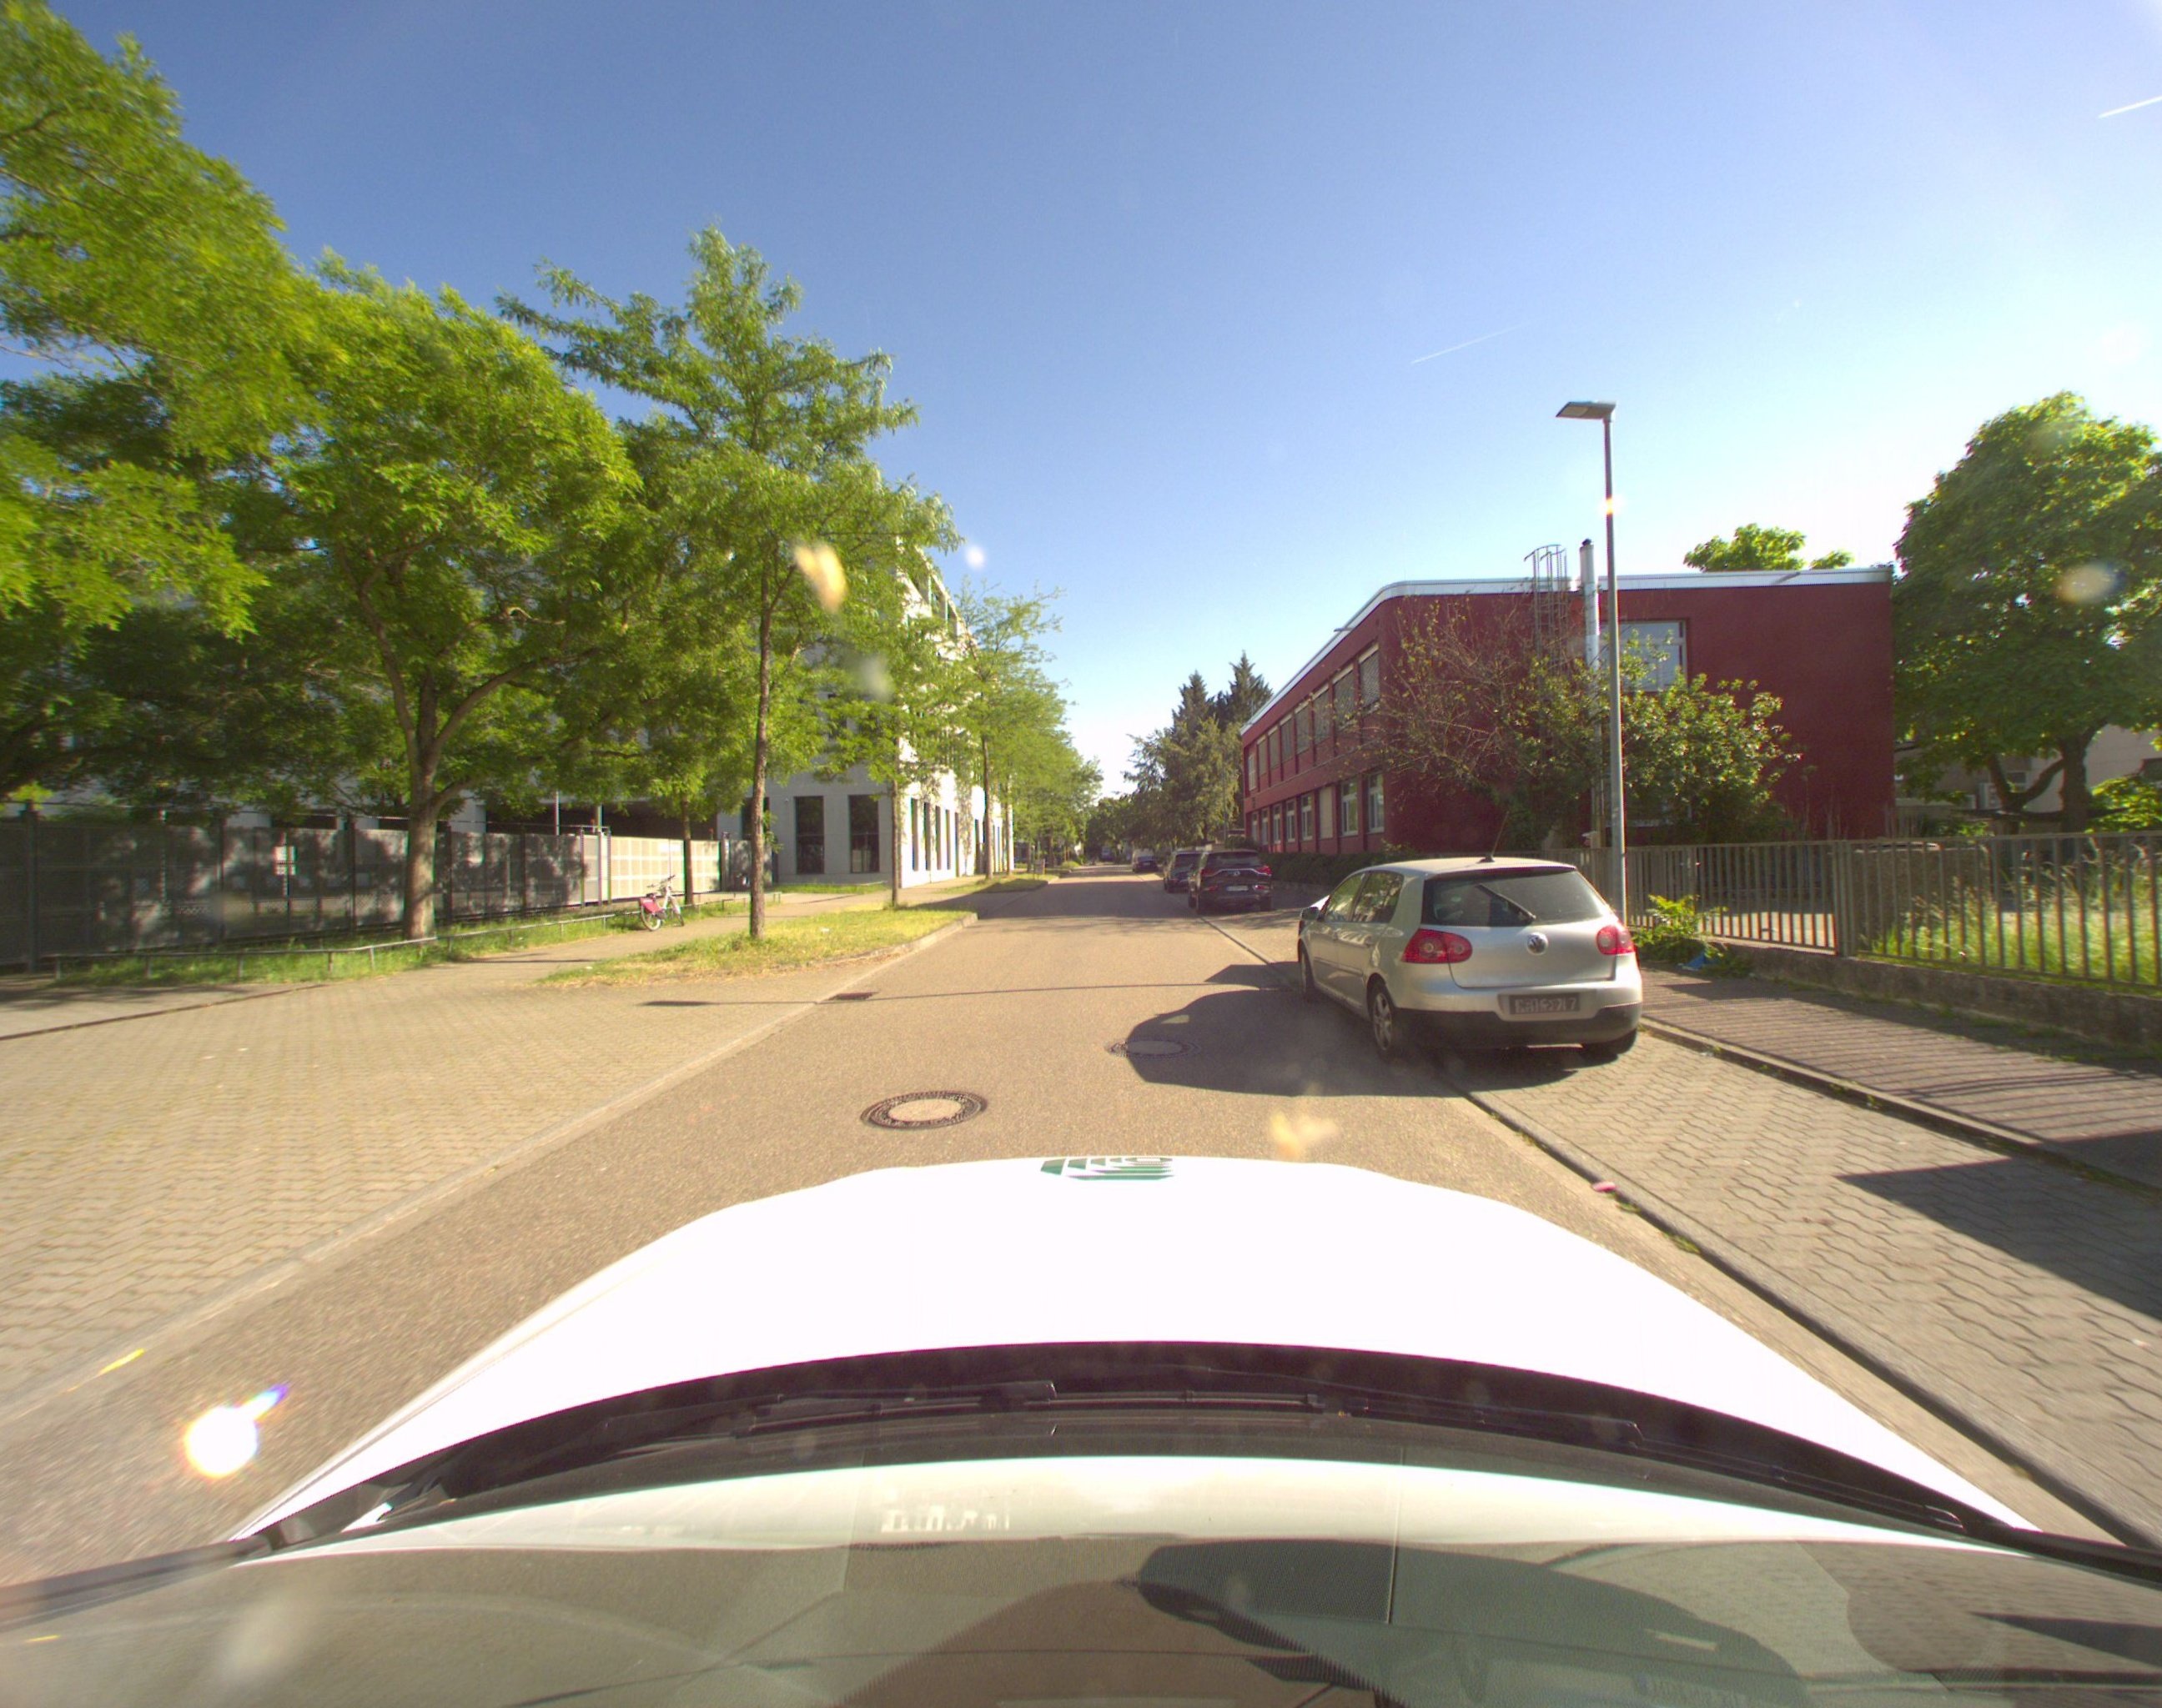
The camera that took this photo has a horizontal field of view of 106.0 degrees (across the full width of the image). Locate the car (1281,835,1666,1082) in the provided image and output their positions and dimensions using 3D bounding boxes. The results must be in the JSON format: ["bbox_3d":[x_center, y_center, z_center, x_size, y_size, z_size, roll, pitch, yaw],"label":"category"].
[{"bbox_3d":[3.016,0.677,7.230,1.653,1.561,3.937,-1,0,3],"label":"car"}]

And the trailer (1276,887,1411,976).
[{"bbox_3d":[3.724,0.987,11.285,1.359,0.912,2.955,-1,0,26],"label":"trailer"}]

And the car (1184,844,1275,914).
[{"bbox_3d":[3.820,0.594,21.670,1.830,1.634,4.204,-1,0,3],"label":"car"}]

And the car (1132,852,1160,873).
[{"bbox_3d":[5.222,0.665,65.469,1.986,1.442,4.002,-5,0,2],"label":"car"}]

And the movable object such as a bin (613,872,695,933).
[{"bbox_3d":[-9.144,1.014,17.521,0.660,1.181,1.936,-1,0,2],"label":"movable object such as a bin"}]

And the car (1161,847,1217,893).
[{"bbox_3d":[4.283,0.601,32.777,1.847,1.648,4.003,-2,0,2],"label":"car"}]

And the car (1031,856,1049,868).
[{"bbox_3d":[-4.846,0.944,97.245,1.988,1.458,3.791,-1,0,-1],"label":"car"}]

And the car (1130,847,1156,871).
[{"bbox_3d":[5.419,0.431,71.206,1.986,1.834,4.002,-5,0,2],"label":"car"}]

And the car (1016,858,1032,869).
[{"bbox_3d":[-7.555,1.252,107.627,1.900,1.342,3.791,-1,0,-1],"label":"car"}]
